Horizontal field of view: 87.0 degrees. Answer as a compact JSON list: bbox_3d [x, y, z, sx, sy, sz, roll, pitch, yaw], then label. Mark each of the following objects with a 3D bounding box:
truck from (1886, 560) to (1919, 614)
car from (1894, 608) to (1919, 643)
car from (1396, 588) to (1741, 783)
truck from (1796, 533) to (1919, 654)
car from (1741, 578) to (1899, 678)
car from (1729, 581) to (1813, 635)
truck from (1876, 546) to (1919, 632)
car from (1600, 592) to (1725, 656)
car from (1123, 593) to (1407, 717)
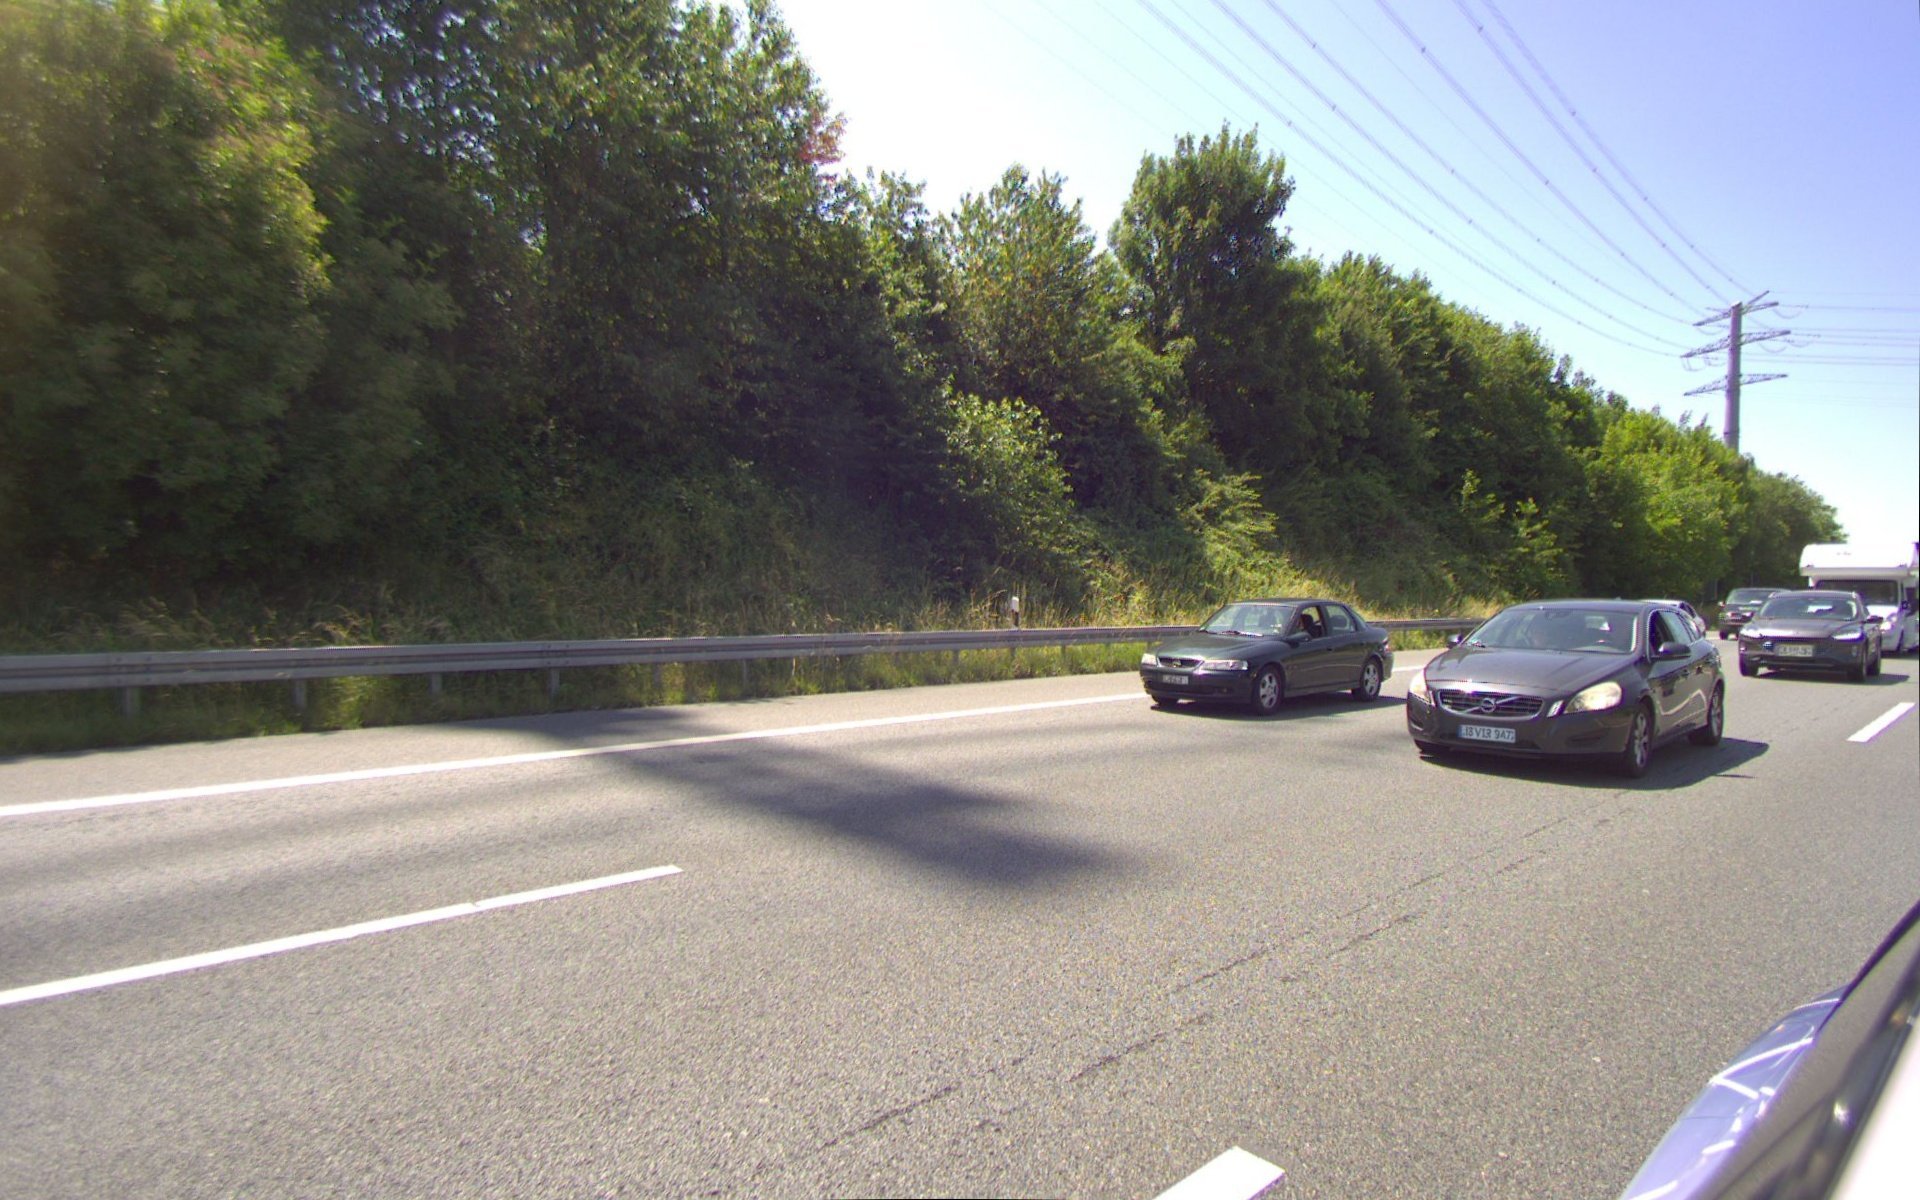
[{"bbox_3d":[67.412,-0.914,71.505,9.040,3.623,2.404,-1,0,-44],"label":"truck"},{"bbox_3d":[50.143,1.298,52.735,4.310,1.724,1.889,-1,1,-44],"label":"car"},{"bbox_3d":[5.933,0.612,9.644,4.160,1.455,1.797,-1,1,-44],"label":"car"},{"bbox_3d":[27.051,-0.212,29.598,9.725,3.053,2.512,-1,0,-41],"label":"truck"},{"bbox_3d":[16.638,0.452,19.498,4.310,1.724,1.889,-1,1,-44],"label":"car"},{"bbox_3d":[30.608,0.258,38.142,4.618,1.928,1.786,-1,0,-42],"label":"car"},{"bbox_3d":[37.451,-0.423,38.706,9.725,3.053,2.512,-1,0,-41],"label":"truck"},{"bbox_3d":[17.876,0.556,25.694,3.945,1.488,1.743,0,1,-42],"label":"car"},{"bbox_3d":[4.201,0.608,13.577,4.229,1.395,1.737,-1,0,-42],"label":"car"}]
